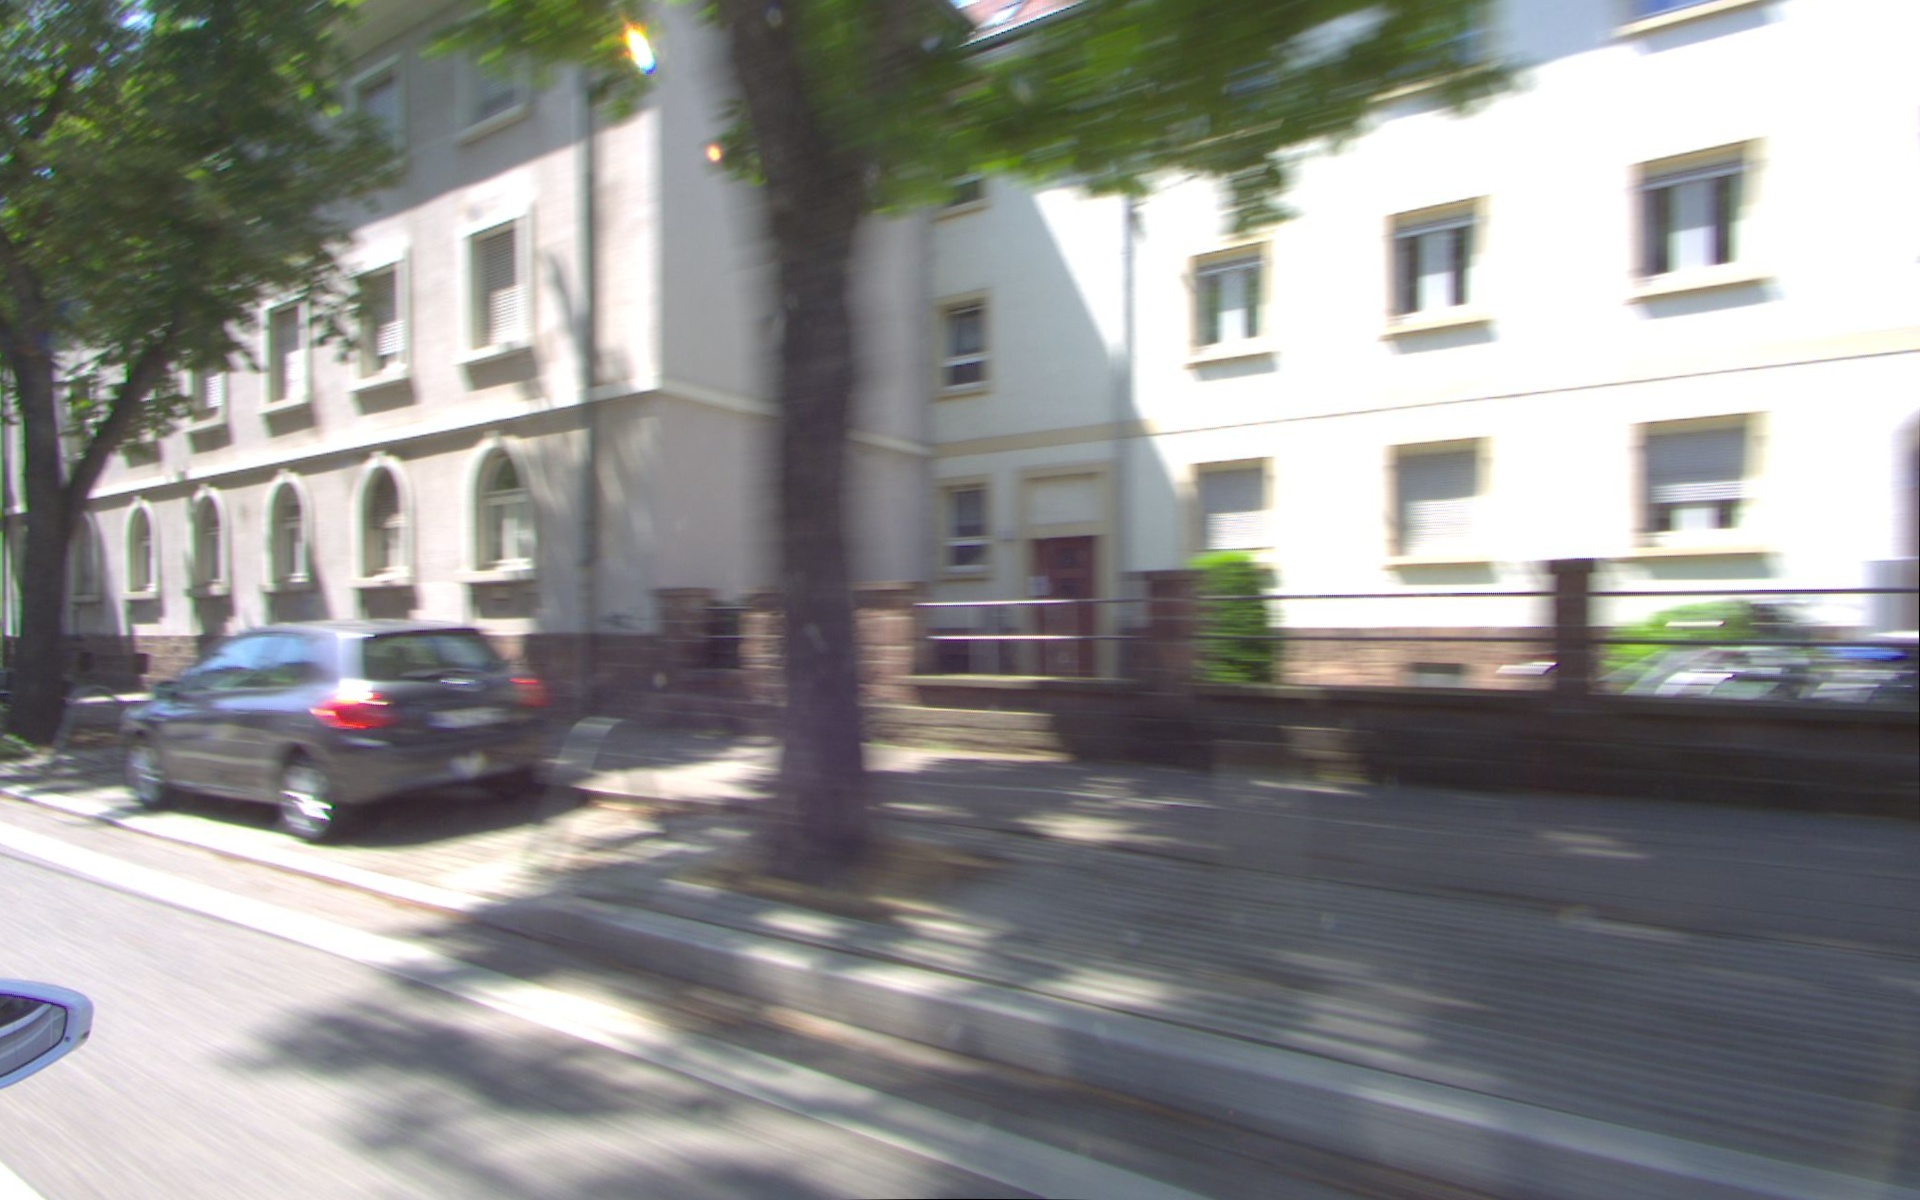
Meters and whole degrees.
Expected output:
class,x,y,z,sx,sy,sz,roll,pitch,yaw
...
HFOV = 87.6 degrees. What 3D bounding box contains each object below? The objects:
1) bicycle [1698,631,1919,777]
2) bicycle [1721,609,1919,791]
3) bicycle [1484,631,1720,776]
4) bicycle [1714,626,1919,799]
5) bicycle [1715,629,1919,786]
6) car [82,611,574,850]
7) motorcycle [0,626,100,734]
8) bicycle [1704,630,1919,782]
class,x,y,z,sx,sy,sz,roll,pitch,yaw
bicycle,6.811,0.789,7.913,1.542,1.070,0.458,-1,0,33
bicycle,6.280,0.666,6.956,1.542,1.207,0.458,0,0,33
bicycle,5.086,0.788,8.031,1.539,1.070,0.459,-1,0,26
bicycle,5.926,0.712,6.560,1.542,1.070,0.458,-1,0,33
bicycle,6.475,0.753,7.280,1.542,1.070,0.458,-1,0,33
car,-5.362,0.877,8.367,4.242,1.521,1.770,-1,1,31
motorcycle,-12.377,1.016,13.467,2.353,1.316,0.991,-1,0,43
bicycle,6.618,0.770,7.581,1.542,1.070,0.458,-1,0,33
